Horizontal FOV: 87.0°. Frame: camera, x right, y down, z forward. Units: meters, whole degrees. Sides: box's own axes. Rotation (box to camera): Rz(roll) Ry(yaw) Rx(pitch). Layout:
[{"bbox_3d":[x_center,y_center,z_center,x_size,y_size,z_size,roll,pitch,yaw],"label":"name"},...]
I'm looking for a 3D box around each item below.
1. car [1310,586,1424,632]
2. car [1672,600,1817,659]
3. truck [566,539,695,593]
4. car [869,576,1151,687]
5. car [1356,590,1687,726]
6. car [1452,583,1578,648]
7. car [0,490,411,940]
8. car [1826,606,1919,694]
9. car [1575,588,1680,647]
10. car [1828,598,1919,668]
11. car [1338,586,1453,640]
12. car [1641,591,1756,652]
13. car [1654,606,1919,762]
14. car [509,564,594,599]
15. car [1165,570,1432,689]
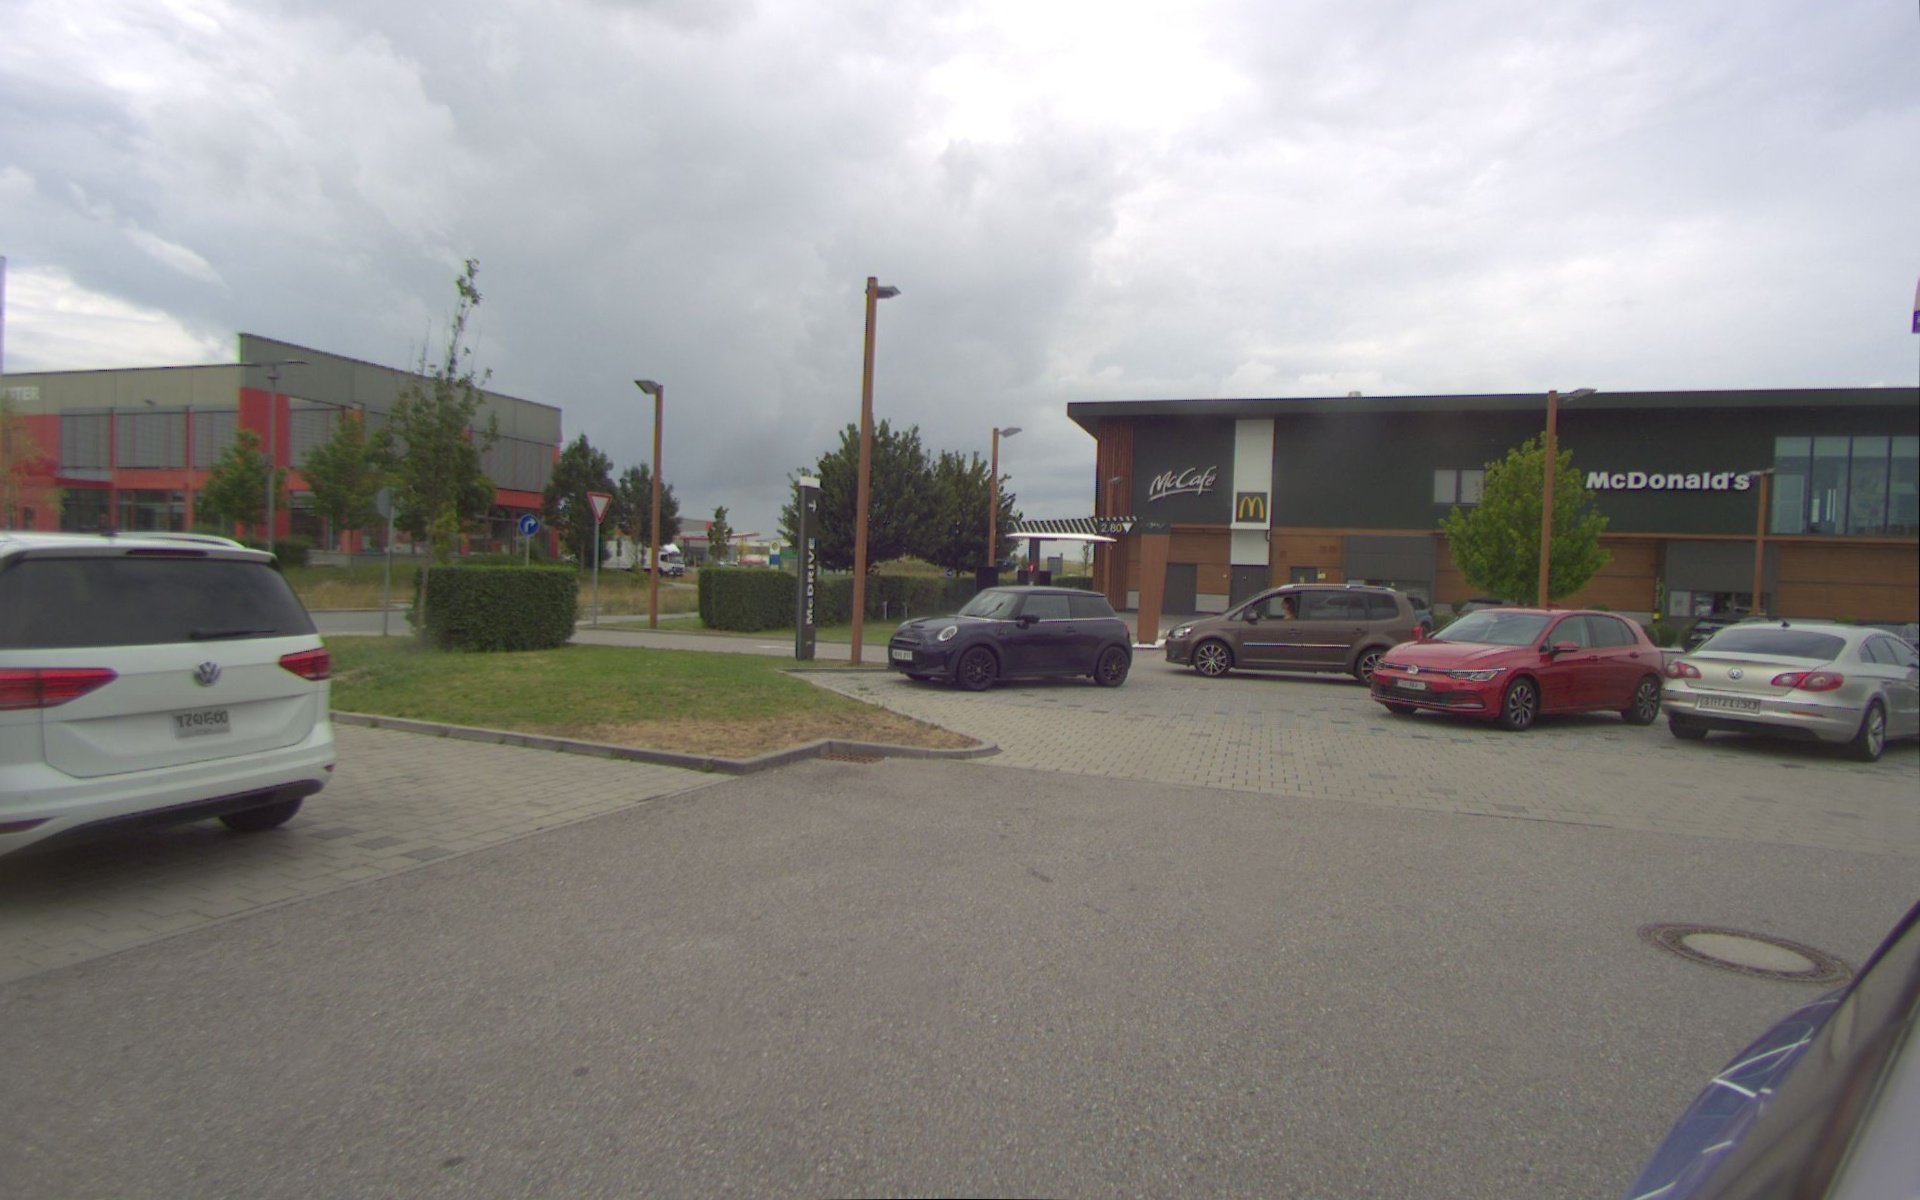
[{"bbox_3d":[16.094,0.326,40.229,3.946,1.524,1.779,3,2,17],"label":"car"},{"bbox_3d":[23.319,0.848,30.064,4.009,1.593,1.841,0,2,-27],"label":"car"},{"bbox_3d":[-31.490,-3.294,96.550,11.851,4.554,3.743,4,2,20],"label":"truck"},{"bbox_3d":[0.775,0.440,14.875,3.853,1.430,1.688,2,0,-33],"label":"car"},{"bbox_3d":[7.109,0.684,12.776,3.917,1.482,1.690,2,0,-26],"label":"car"},{"bbox_3d":[17.617,0.434,32.078,3.926,1.771,2.000,-2,4,-36],"label":"car"},{"bbox_3d":[-5.432,0.433,5.500,4.318,1.734,1.979,0,0,20],"label":"car"},{"bbox_3d":[18.499,1.007,18.208,1.733,1.528,4.008,2,2,-27],"label":"car"},{"bbox_3d":[22.800,0.539,34.741,1.728,1.775,3.982,3,2,15],"label":"car"},{"bbox_3d":[26.657,0.871,28.683,4.176,1.682,1.900,-1,4,-32],"label":"car"},{"bbox_3d":[14.454,0.433,33.548,3.831,1.604,1.751,1,2,-36],"label":"car"},{"bbox_3d":[24.853,0.660,34.225,1.728,1.775,3.982,3,2,15],"label":"car"},{"bbox_3d":[9.907,0.846,11.520,4.372,1.430,1.754,2,0,-33],"label":"car"},{"bbox_3d":[-18.673,-0.855,46.446,1.637,1.477,3.904,3,2,14],"label":"car"},{"bbox_3d":[5.768,0.435,17.675,4.132,1.710,1.803,3,2,16],"label":"car"}]
